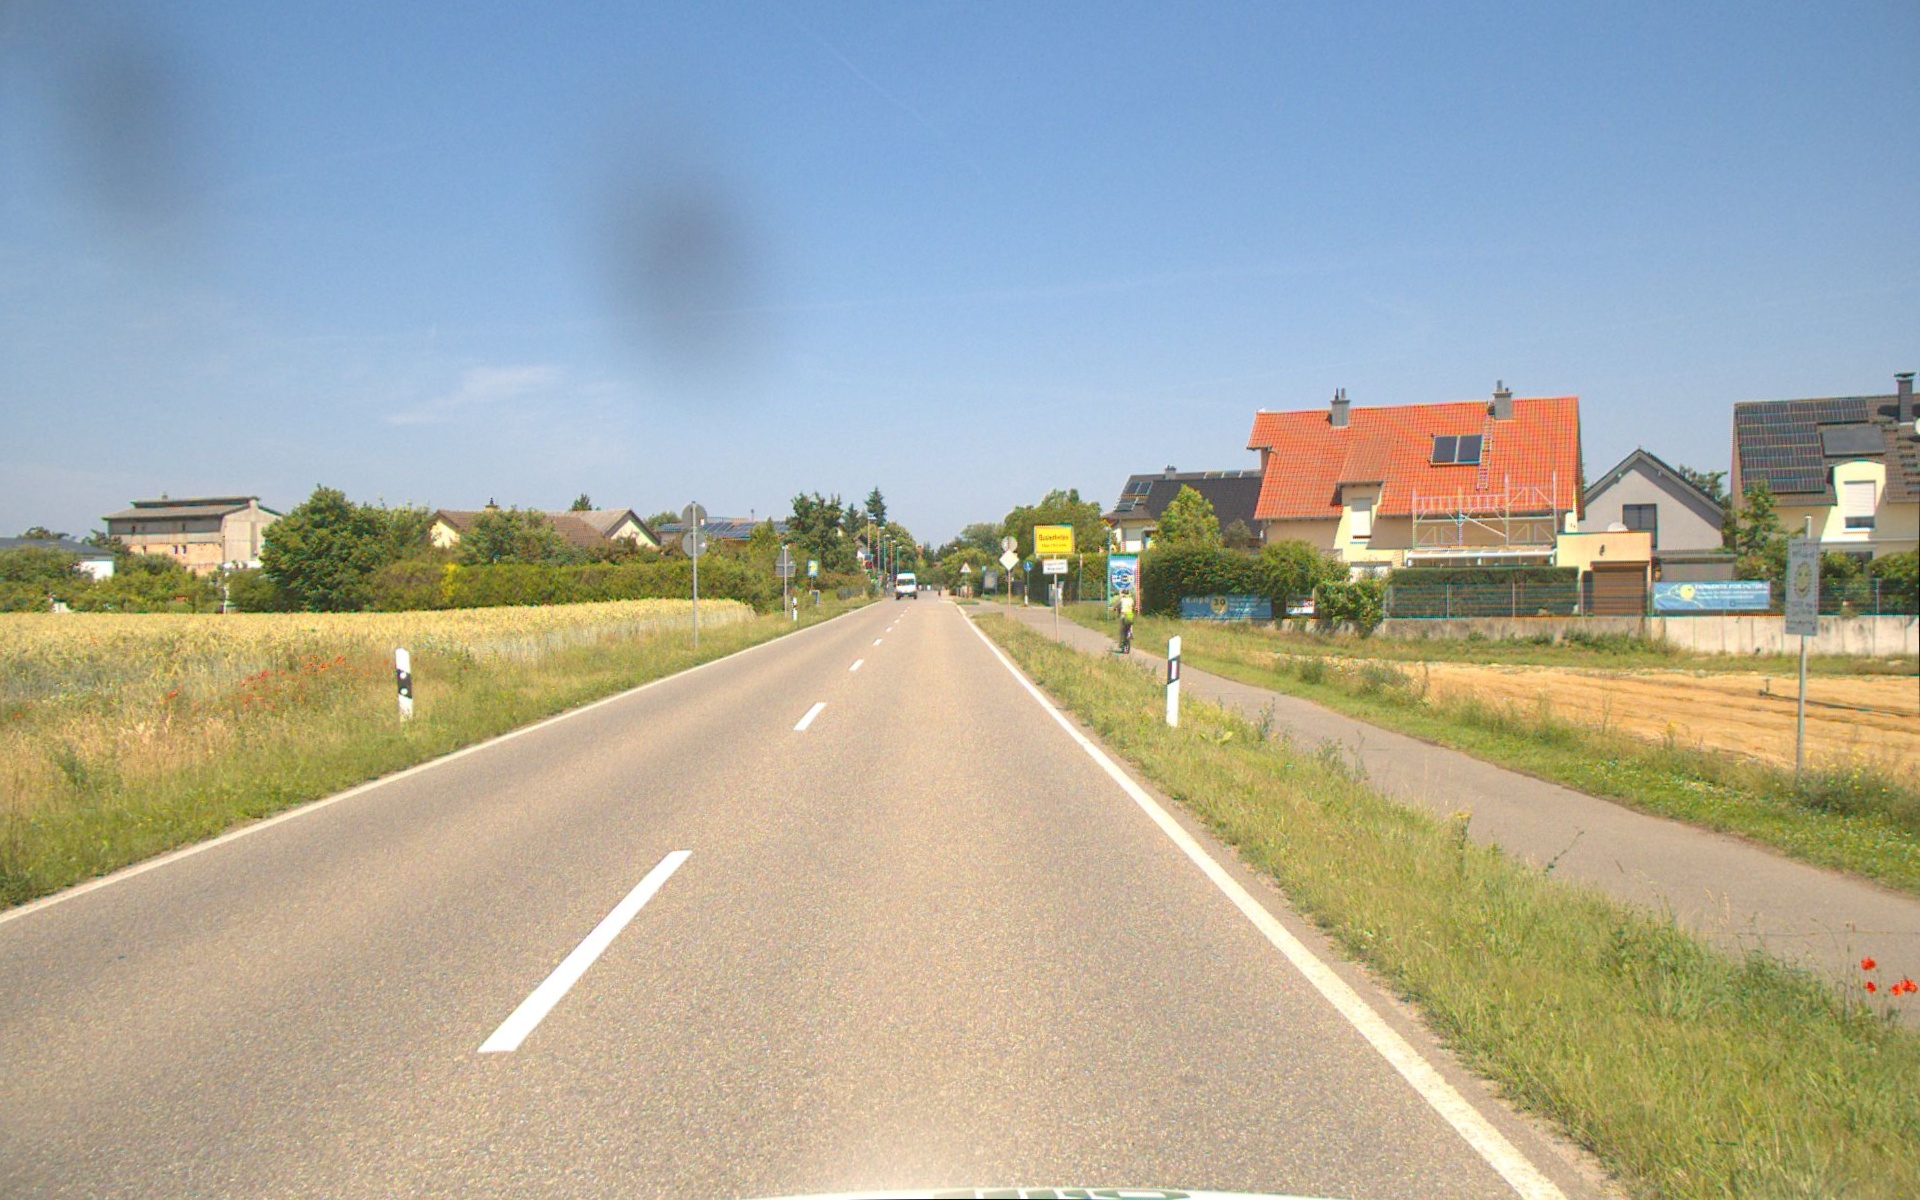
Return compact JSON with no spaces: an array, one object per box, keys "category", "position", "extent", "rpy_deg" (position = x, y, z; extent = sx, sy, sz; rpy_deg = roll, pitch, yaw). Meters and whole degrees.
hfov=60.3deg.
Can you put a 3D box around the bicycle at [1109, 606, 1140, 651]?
[{"category":"bicycle","position":[4.696,0.790,47.286],"extent":[0.598,1.179,2.274],"rpy_deg":[1,2,-2]}]

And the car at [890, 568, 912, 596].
[{"category":"car","position":[-5.740,-1.771,161.864],"extent":[2.035,2.586,5.872],"rpy_deg":[-2,1,-1]}]

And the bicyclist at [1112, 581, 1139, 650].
[{"category":"bicyclist","position":[4.703,0.423,47.133],"extent":[0.632,1.922,0.861],"rpy_deg":[1,1,-2]}]
